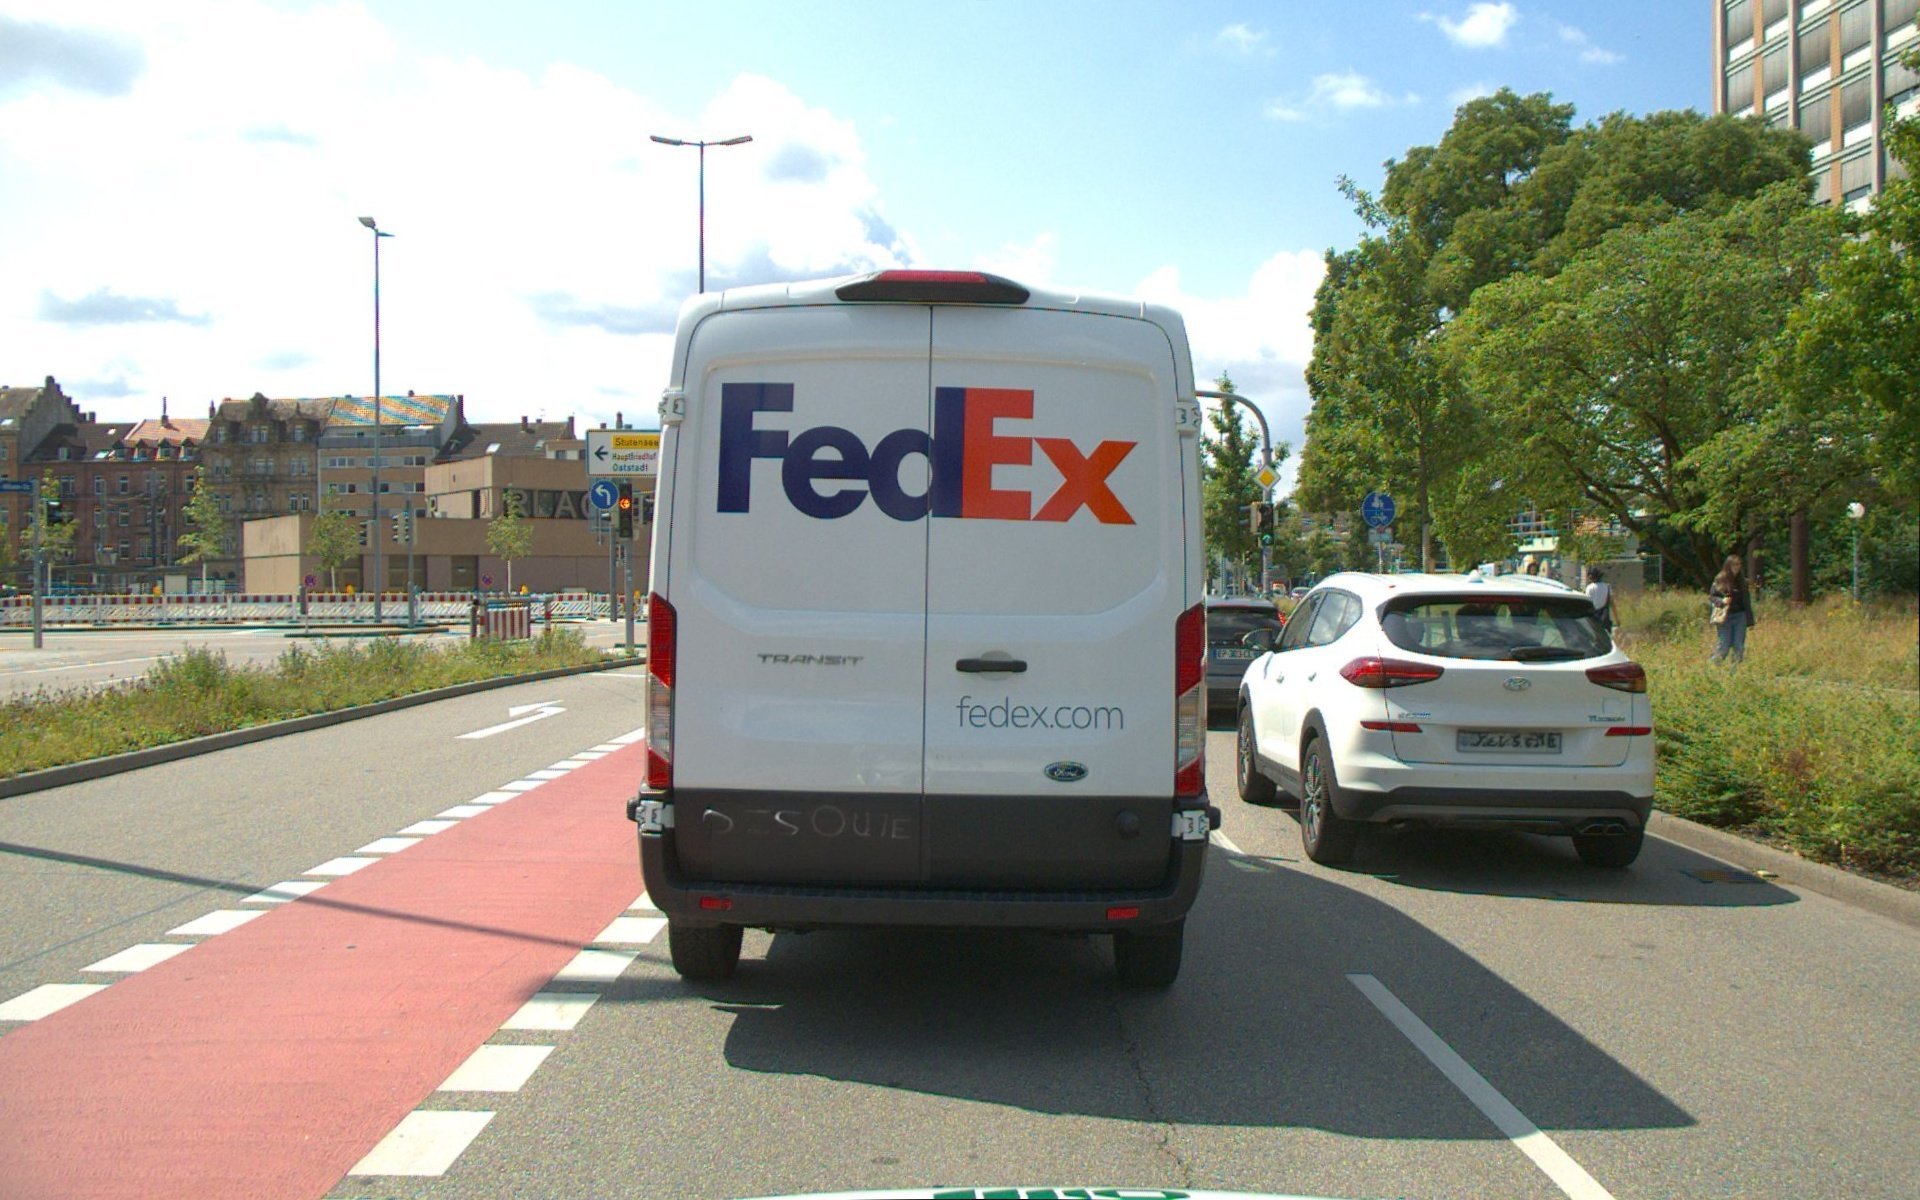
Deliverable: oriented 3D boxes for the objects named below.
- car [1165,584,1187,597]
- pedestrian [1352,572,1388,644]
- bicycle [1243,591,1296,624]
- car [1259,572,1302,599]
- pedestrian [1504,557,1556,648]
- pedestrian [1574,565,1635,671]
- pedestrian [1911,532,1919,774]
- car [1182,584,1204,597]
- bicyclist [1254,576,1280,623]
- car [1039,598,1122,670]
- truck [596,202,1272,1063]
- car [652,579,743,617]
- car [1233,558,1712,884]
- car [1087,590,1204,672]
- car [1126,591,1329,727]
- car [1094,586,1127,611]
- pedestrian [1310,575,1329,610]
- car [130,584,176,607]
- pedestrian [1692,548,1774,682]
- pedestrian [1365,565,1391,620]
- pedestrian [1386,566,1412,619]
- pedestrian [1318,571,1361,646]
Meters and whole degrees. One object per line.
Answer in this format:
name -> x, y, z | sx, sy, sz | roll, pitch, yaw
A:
car -> 28.135, -1.231, 215.286 | 1.952, 1.601, 4.178 | 1, 0, 21
pedestrian -> 10.265, 0.190, 41.438 | 0.653, 1.777, 0.609 | -2, 0, -7
bicycle -> 11.016, 0.276, 58.951 | 1.771, 1.068, 0.592 | -3, -1, 6
car -> 20.511, -0.917, 105.721 | 1.843, 1.670, 3.955 | 0, 1, 24
pedestrian -> 11.408, 0.048, 33.120 | 0.734, 1.780, 0.667 | -2, 0, -4
pedestrian -> 10.041, 0.272, 25.800 | 0.653, 1.624, 0.648 | -2, 0, -1
pedestrian -> 7.376, 0.383, 11.791 | 0.653, 1.780, 0.848 | -2, 0, -1
car -> 30.226, -1.200, 214.137 | 1.952, 1.601, 4.178 | 1, 0, 21
bicyclist -> 10.949, -0.010, 58.964 | 0.810, 1.629, 0.580 | -3, -1, 6
car -> 2.896, 0.759, 39.198 | 1.841, 1.532, 4.158 | 1, 1, 5
truck -> -0.119, 0.096, 8.165 | 2.093, 2.686, 5.916 | 1, 0, -1
car -> -10.992, -0.080, 69.558 | 1.953, 1.534, 4.016 | 1, 0, 22
car -> 2.989, 0.599, 10.637 | 1.842, 1.670, 4.233 | 0, 1, 1
car -> 3.501, 0.555, 31.781 | 1.875, 1.444, 3.919 | 0, 1, 1
car -> 3.097, 0.630, 19.898 | 1.875, 1.444, 3.919 | 0, 1, 1
car -> 12.688, -0.095, 138.830 | 1.951, 2.049, 4.125 | 1, 0, 17
pedestrian -> 16.996, -0.339, 78.122 | 0.740, 1.617, 0.761 | 1, -1, 1
car -> -87.600, -0.470, 179.620 | 4.020, 2.384, 2.001 | 1, 0, 5
pedestrian -> 10.597, 0.200, 22.696 | 0.653, 1.780, 0.878 | -2, 0, -1
pedestrian -> 14.222, -0.266, 56.310 | 0.734, 1.834, 0.610 | -2, 0, 6
pedestrian -> 15.014, -0.266, 56.531 | 0.734, 1.783, 0.610 | -2, 0, 6
pedestrian -> 9.443, 0.207, 41.188 | 0.735, 1.808, 0.880 | -2, 0, -6
